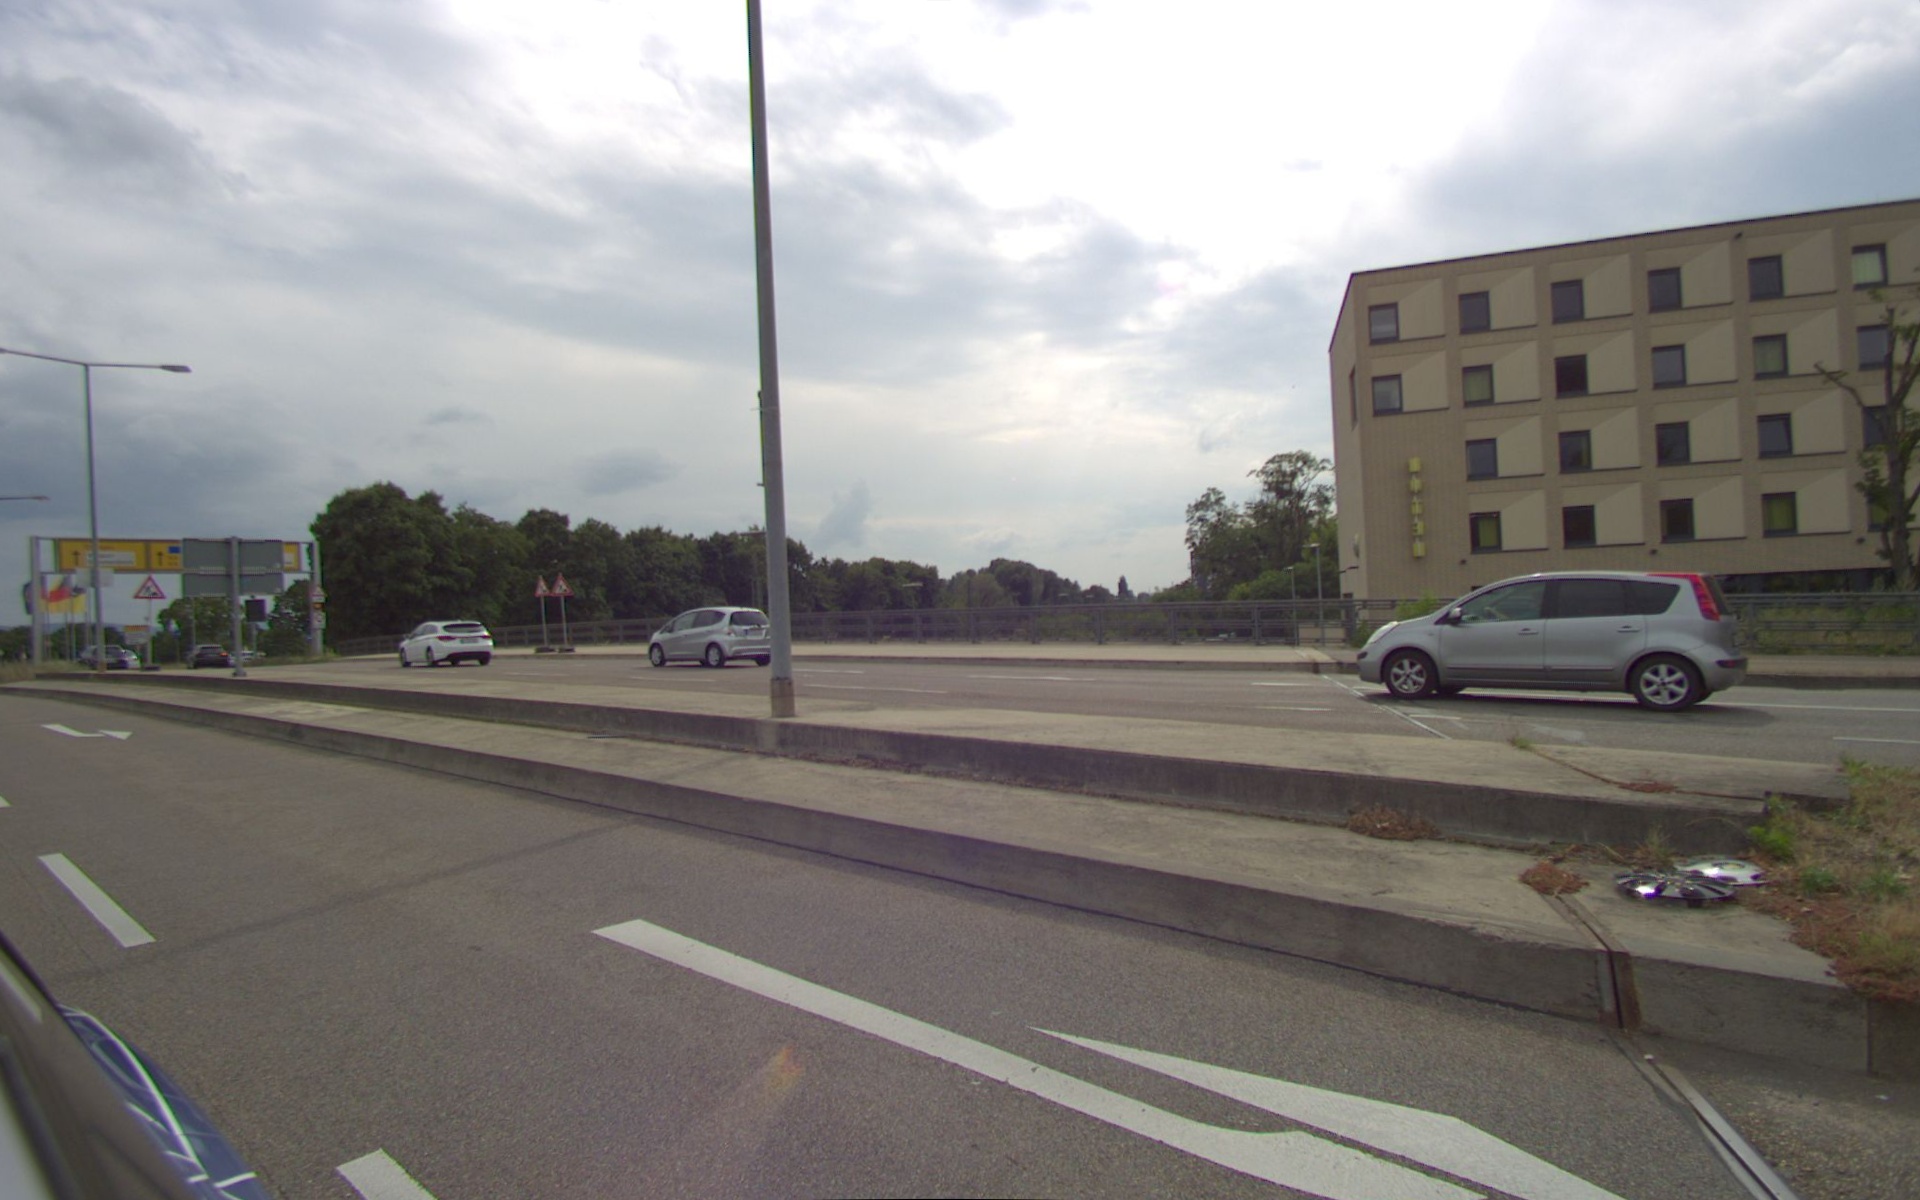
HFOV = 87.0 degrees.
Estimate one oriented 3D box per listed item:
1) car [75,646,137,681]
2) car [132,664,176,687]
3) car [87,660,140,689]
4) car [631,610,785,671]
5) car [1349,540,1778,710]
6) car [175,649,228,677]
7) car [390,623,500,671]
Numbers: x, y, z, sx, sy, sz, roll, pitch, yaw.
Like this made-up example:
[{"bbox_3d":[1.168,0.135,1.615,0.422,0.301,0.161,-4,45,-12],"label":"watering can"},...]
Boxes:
[{"bbox_3d":[-44.952,3.349,53.258,4.583,1.652,1.867,-4,-1,42],"label":"car"},{"bbox_3d":[-61.171,5.720,76.758,4.451,1.543,1.867,-4,-1,42],"label":"car"},{"bbox_3d":[-53.949,4.709,64.472,4.215,1.652,1.868,-3,-1,41],"label":"car"},{"bbox_3d":[-6.541,1.037,26.107,4.025,1.426,1.791,-2,-1,39],"label":"car"},{"bbox_3d":[6.974,0.300,11.949,4.078,1.671,1.723,-2,-1,42],"label":"car"},{"bbox_3d":[-49.653,4.146,66.210,4.544,1.652,1.867,-4,-1,42],"label":"car"},{"bbox_3d":[-17.227,1.583,33.741,1.897,1.426,4.884,0,-2,-45],"label":"car"}]
